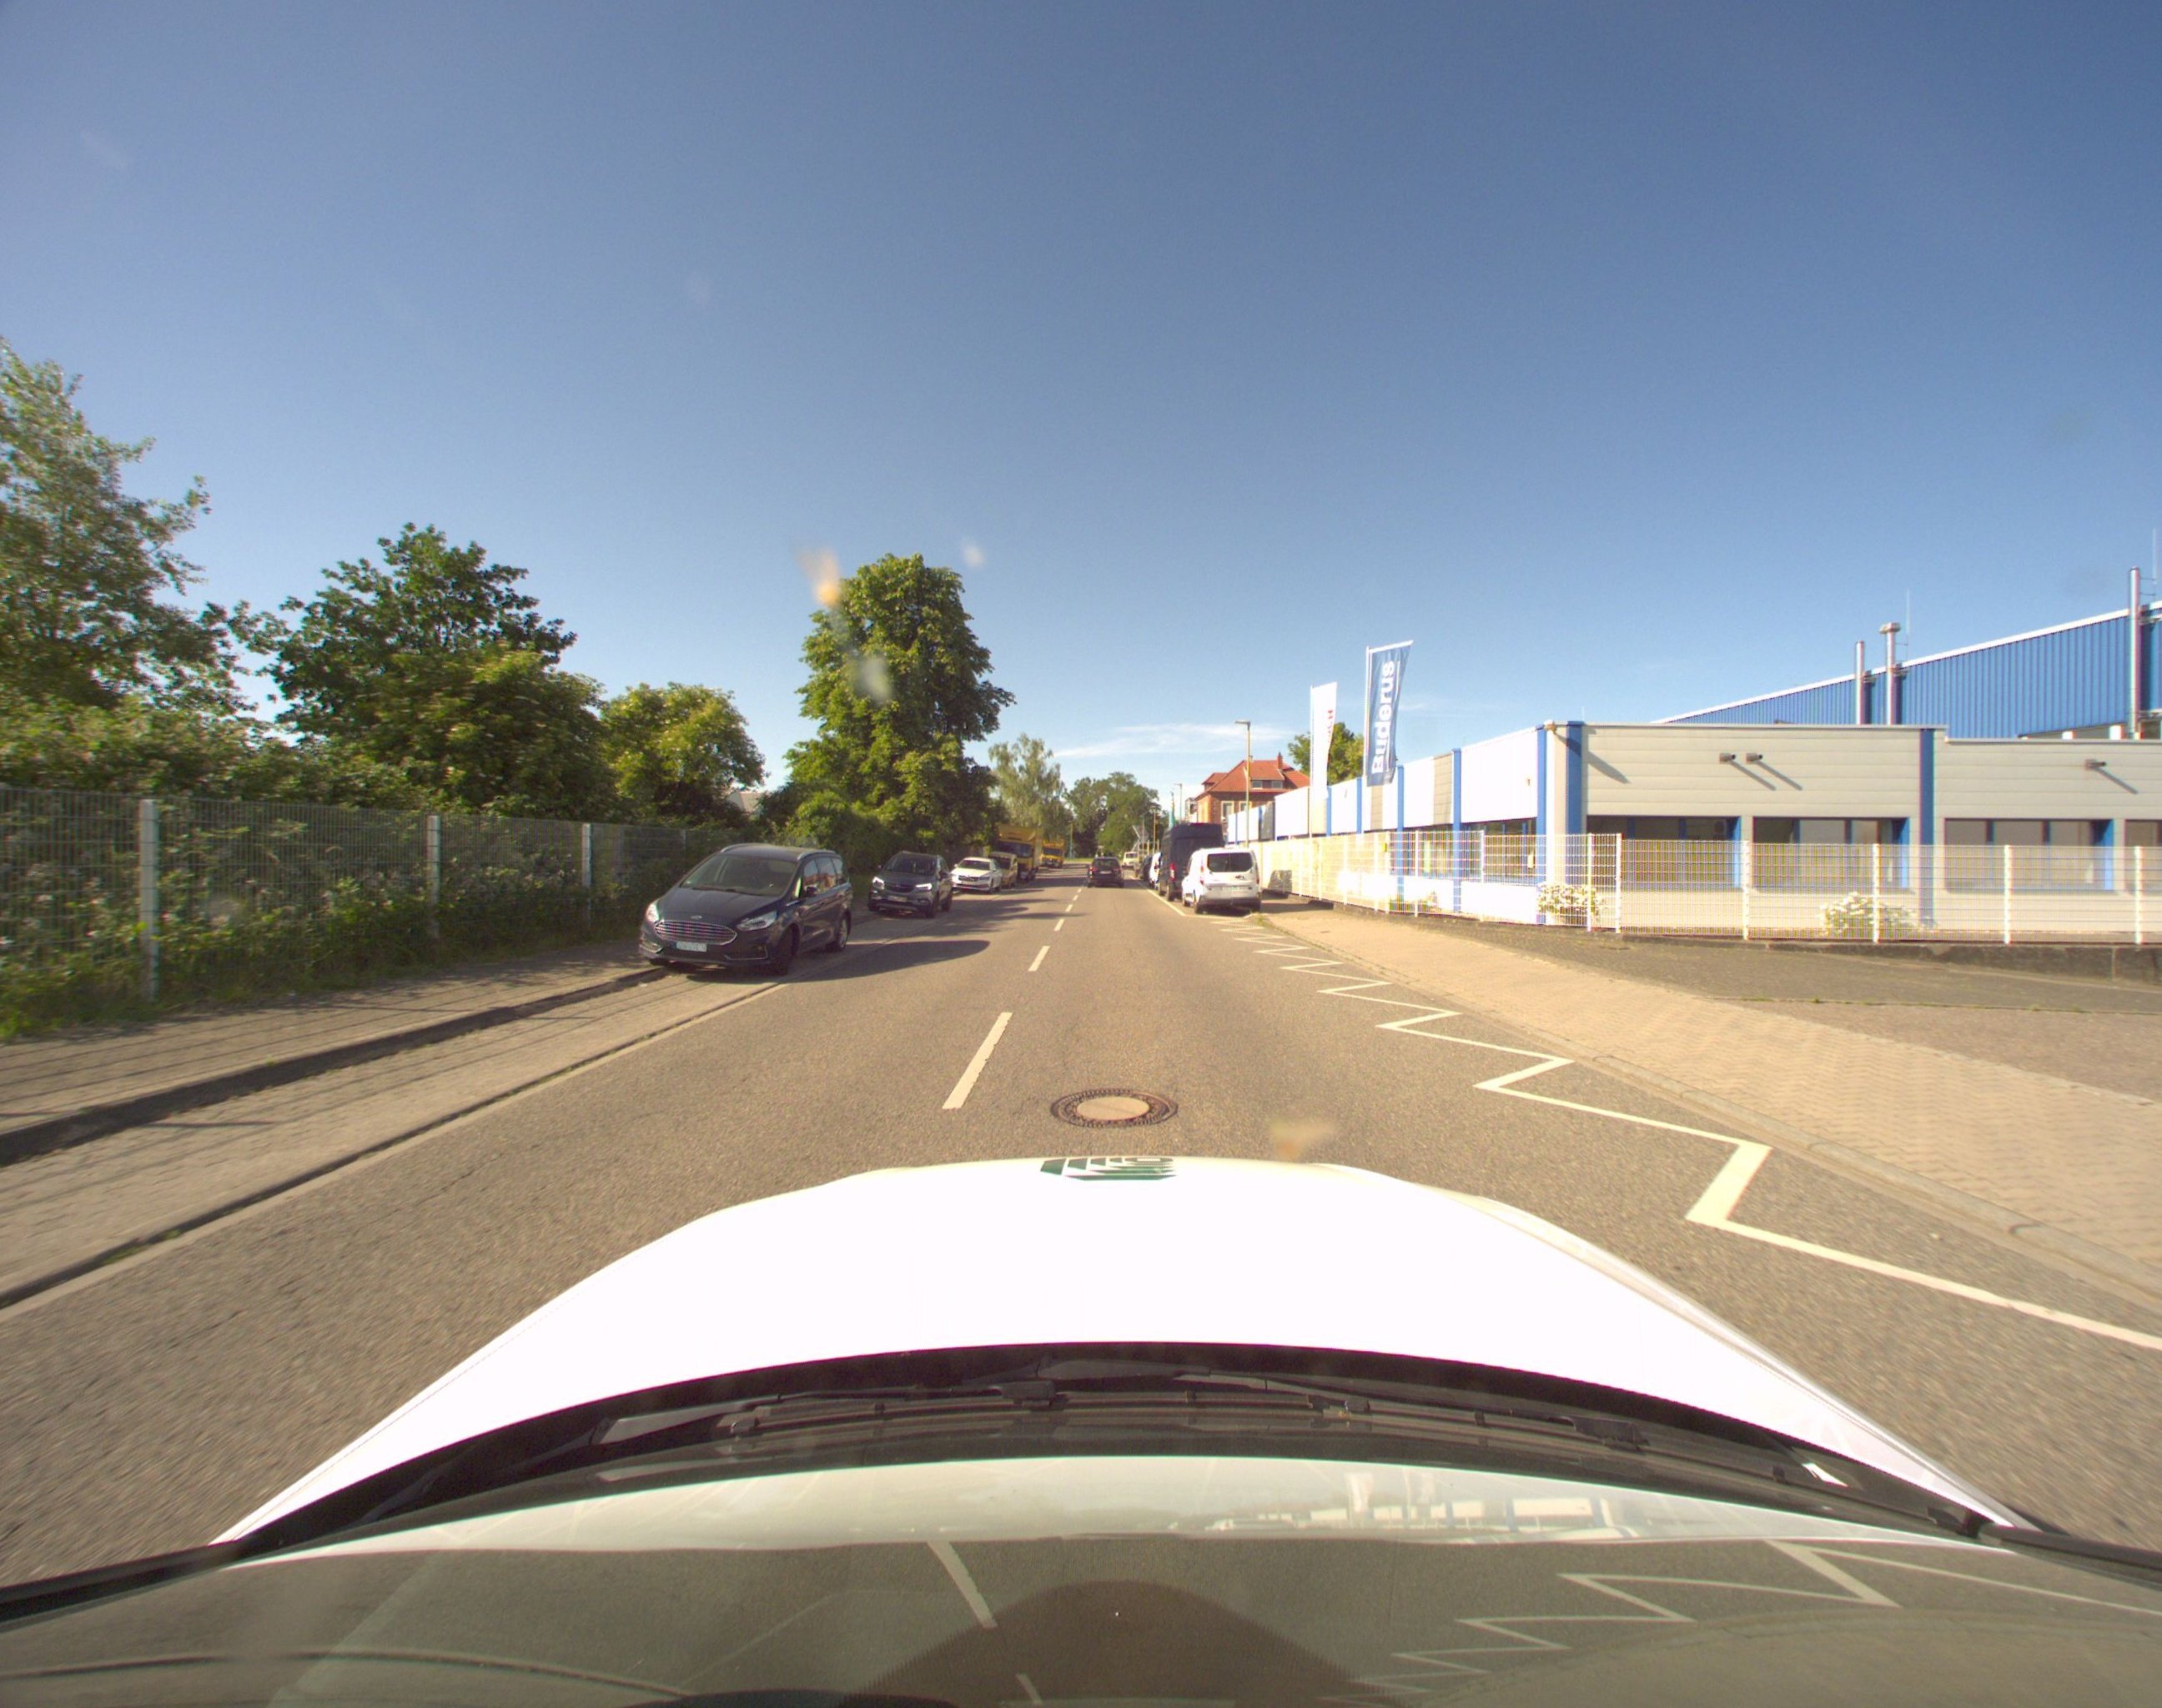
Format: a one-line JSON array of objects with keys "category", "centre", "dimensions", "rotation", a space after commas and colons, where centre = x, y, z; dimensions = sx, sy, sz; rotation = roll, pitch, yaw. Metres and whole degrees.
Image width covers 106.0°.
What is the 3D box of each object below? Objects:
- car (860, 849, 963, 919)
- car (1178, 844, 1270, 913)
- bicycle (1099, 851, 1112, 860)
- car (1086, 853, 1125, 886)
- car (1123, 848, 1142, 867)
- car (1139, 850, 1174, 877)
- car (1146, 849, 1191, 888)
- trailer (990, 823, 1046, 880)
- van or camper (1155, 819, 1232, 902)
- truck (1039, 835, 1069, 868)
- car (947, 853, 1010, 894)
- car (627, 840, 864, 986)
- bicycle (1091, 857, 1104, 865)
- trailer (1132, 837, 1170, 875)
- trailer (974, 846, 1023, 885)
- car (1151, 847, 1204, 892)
[{"category": "car", "centre": [-4.694, 0.749, 23.234], "dimensions": [1.902, 1.662, 4.462], "rotation": [4, 0, -1]}, {"category": "car", "centre": [4.115, 0.668, 24.255], "dimensions": [1.879, 1.797, 5.104], "rotation": [2, 0, 1]}, {"category": "bicycle", "centre": [3.707, 0.240, 125.073], "dimensions": [0.809, 1.268, 2.235], "rotation": [2, 0, -33]}, {"category": "car", "centre": [1.224, 0.732, 39.988], "dimensions": [1.840, 1.530, 4.003], "rotation": [0, 0, 2]}, {"category": "car", "centre": [5.713, 0.414, 90.777], "dimensions": [1.867, 2.014, 5.163], "rotation": [2, 0, 2]}, {"category": "car", "centre": [4.945, 0.625, 53.668], "dimensions": [1.986, 1.667, 4.733], "rotation": [2, 0, 2]}, {"category": "car", "centre": [4.437, 0.719, 41.934], "dimensions": [1.848, 1.830, 5.170], "rotation": [2, 0, 2]}, {"category": "trailer", "centre": [-3.979, -0.175, 53.447], "dimensions": [2.981, 3.443, 8.161], "rotation": [0, 0, 0]}, {"category": "van or camper", "centre": [4.098, 0.224, 30.701], "dimensions": [2.133, 2.759, 6.163], "rotation": [2, 0, 2]}, {"category": "truck", "centre": [-3.147, -0.393, 97.054], "dimensions": [2.622, 3.504, 8.661], "rotation": [6, 1, 2]}, {"category": "car", "centre": [-4.508, 0.809, 36.609], "dimensions": [1.900, 1.593, 5.028], "rotation": [4, 0, 2]}, {"category": "car", "centre": [-4.784, 0.724, 12.491], "dimensions": [1.788, 1.730, 4.796], "rotation": [3, 0, -3]}, {"category": "bicycle", "centre": [2.570, 1.091, 128.768], "dimensions": [0.810, 1.221, 2.233], "rotation": [2, 0, -38]}, {"category": "trailer", "centre": [5.125, 0.128, 60.216], "dimensions": [2.451, 2.673, 5.703], "rotation": [0, 0, 1]}, {"category": "trailer", "centre": [-4.245, 0.568, 42.535], "dimensions": [1.986, 1.941, 4.417], "rotation": [0, 0, 2]}, {"category": "car", "centre": [4.255, 0.666, 36.692], "dimensions": [1.879, 1.847, 5.106], "rotation": [2, 0, 2]}]
